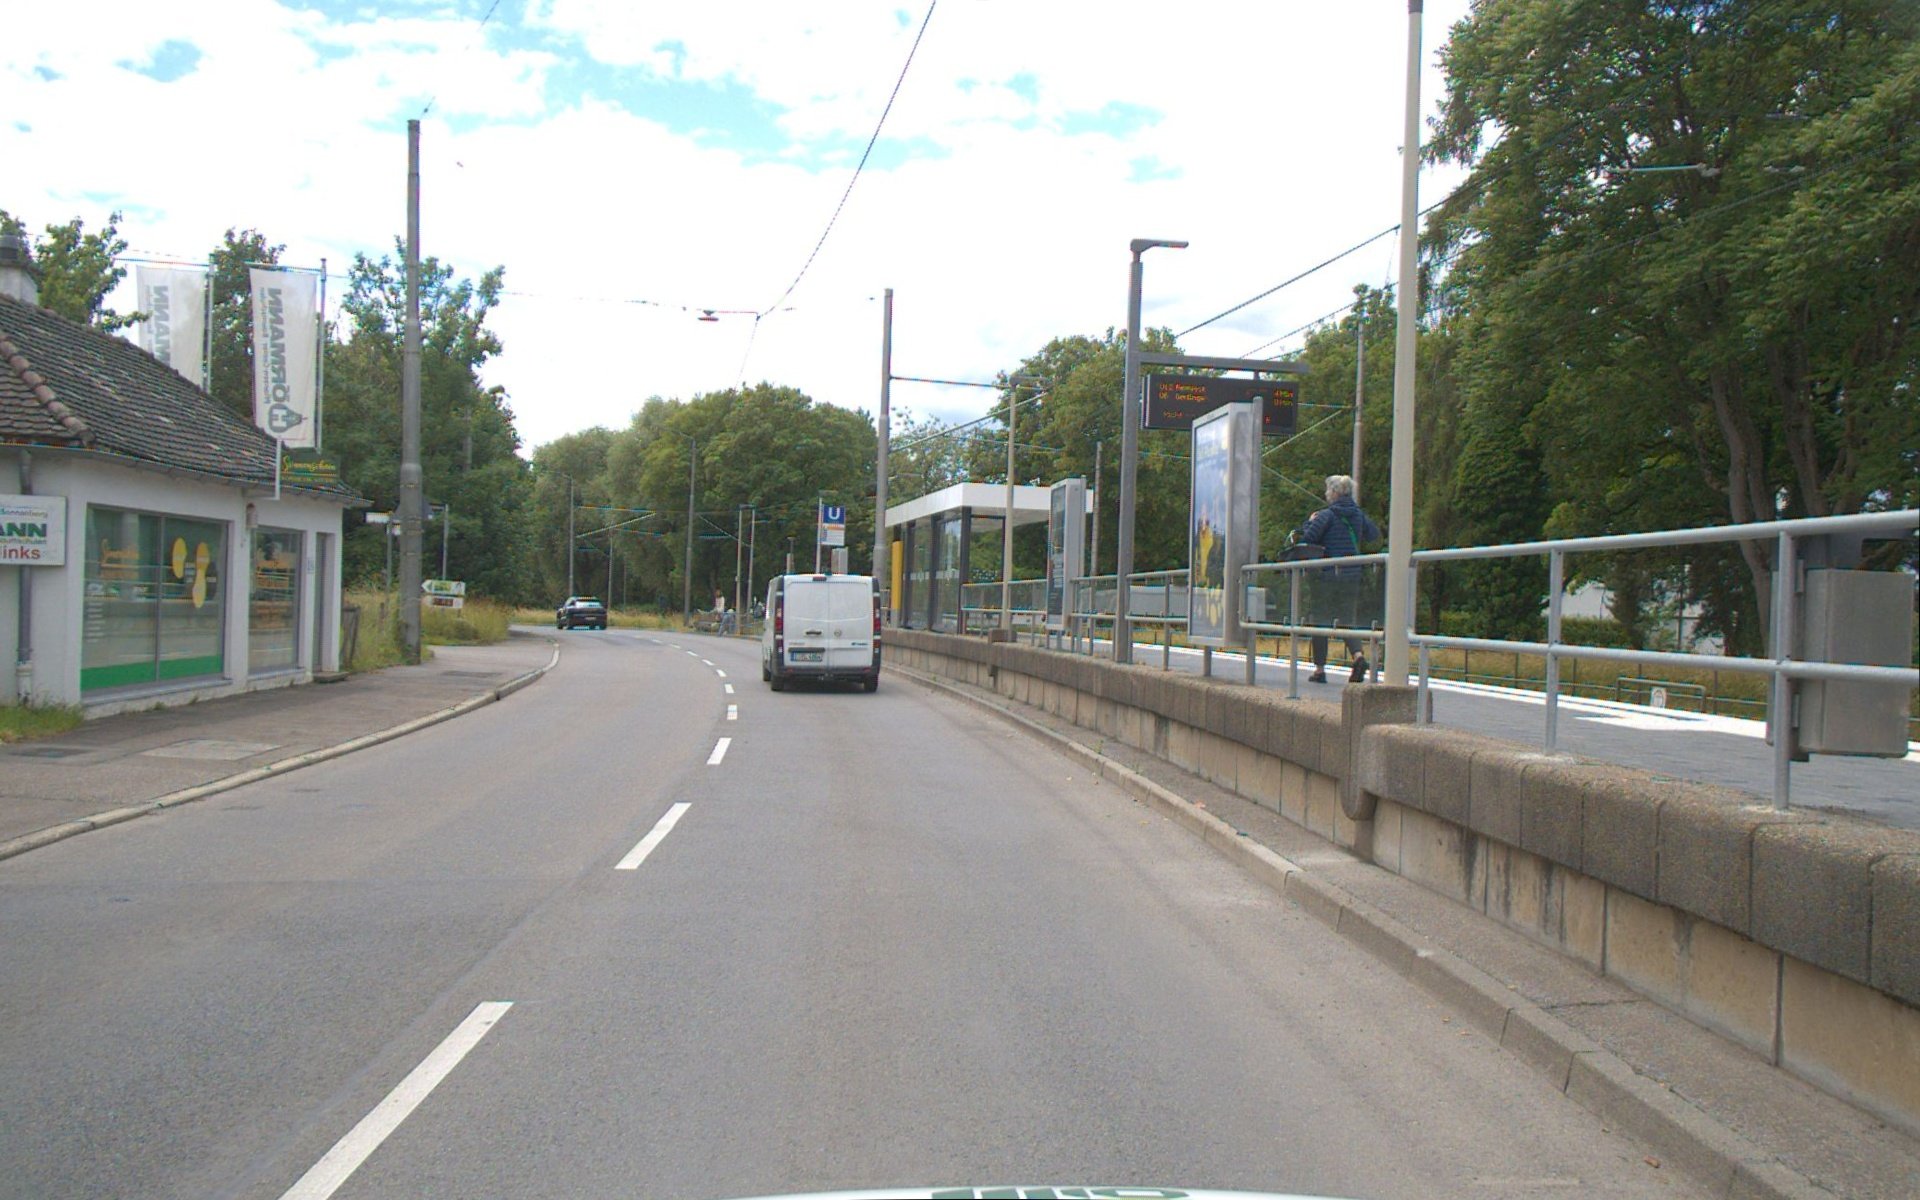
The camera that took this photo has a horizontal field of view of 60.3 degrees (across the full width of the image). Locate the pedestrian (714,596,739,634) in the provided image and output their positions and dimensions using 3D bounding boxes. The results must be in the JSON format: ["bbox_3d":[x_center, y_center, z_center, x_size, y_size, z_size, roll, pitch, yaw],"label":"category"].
[{"bbox_3d":[-9.392,0.611,66.581,0.752,1.518,0.623,2,-1,-37],"label":"pedestrian"}]

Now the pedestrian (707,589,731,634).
[{"bbox_3d":[-9.908,0.458,67.977,0.752,1.826,0.623,2,-1,-37],"label":"pedestrian"}]

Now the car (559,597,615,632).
[{"bbox_3d":[-18.732,0.706,82.949,2.319,1.591,4.351,3,-1,-18],"label":"car"}]

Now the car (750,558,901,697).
[{"bbox_3d":[-2.521,0.437,29.621,2.079,2.171,5.427,3,0,-10],"label":"car"}]

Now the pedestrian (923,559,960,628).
[{"bbox_3d":[-0.391,-0.143,34.915,0.627,1.429,0.763,1,1,-11],"label":"pedestrian"}]

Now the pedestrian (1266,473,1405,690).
[{"bbox_3d":[3.069,-0.144,13.607,0.868,1.700,0.909,2,0,-2],"label":"pedestrian"}]
